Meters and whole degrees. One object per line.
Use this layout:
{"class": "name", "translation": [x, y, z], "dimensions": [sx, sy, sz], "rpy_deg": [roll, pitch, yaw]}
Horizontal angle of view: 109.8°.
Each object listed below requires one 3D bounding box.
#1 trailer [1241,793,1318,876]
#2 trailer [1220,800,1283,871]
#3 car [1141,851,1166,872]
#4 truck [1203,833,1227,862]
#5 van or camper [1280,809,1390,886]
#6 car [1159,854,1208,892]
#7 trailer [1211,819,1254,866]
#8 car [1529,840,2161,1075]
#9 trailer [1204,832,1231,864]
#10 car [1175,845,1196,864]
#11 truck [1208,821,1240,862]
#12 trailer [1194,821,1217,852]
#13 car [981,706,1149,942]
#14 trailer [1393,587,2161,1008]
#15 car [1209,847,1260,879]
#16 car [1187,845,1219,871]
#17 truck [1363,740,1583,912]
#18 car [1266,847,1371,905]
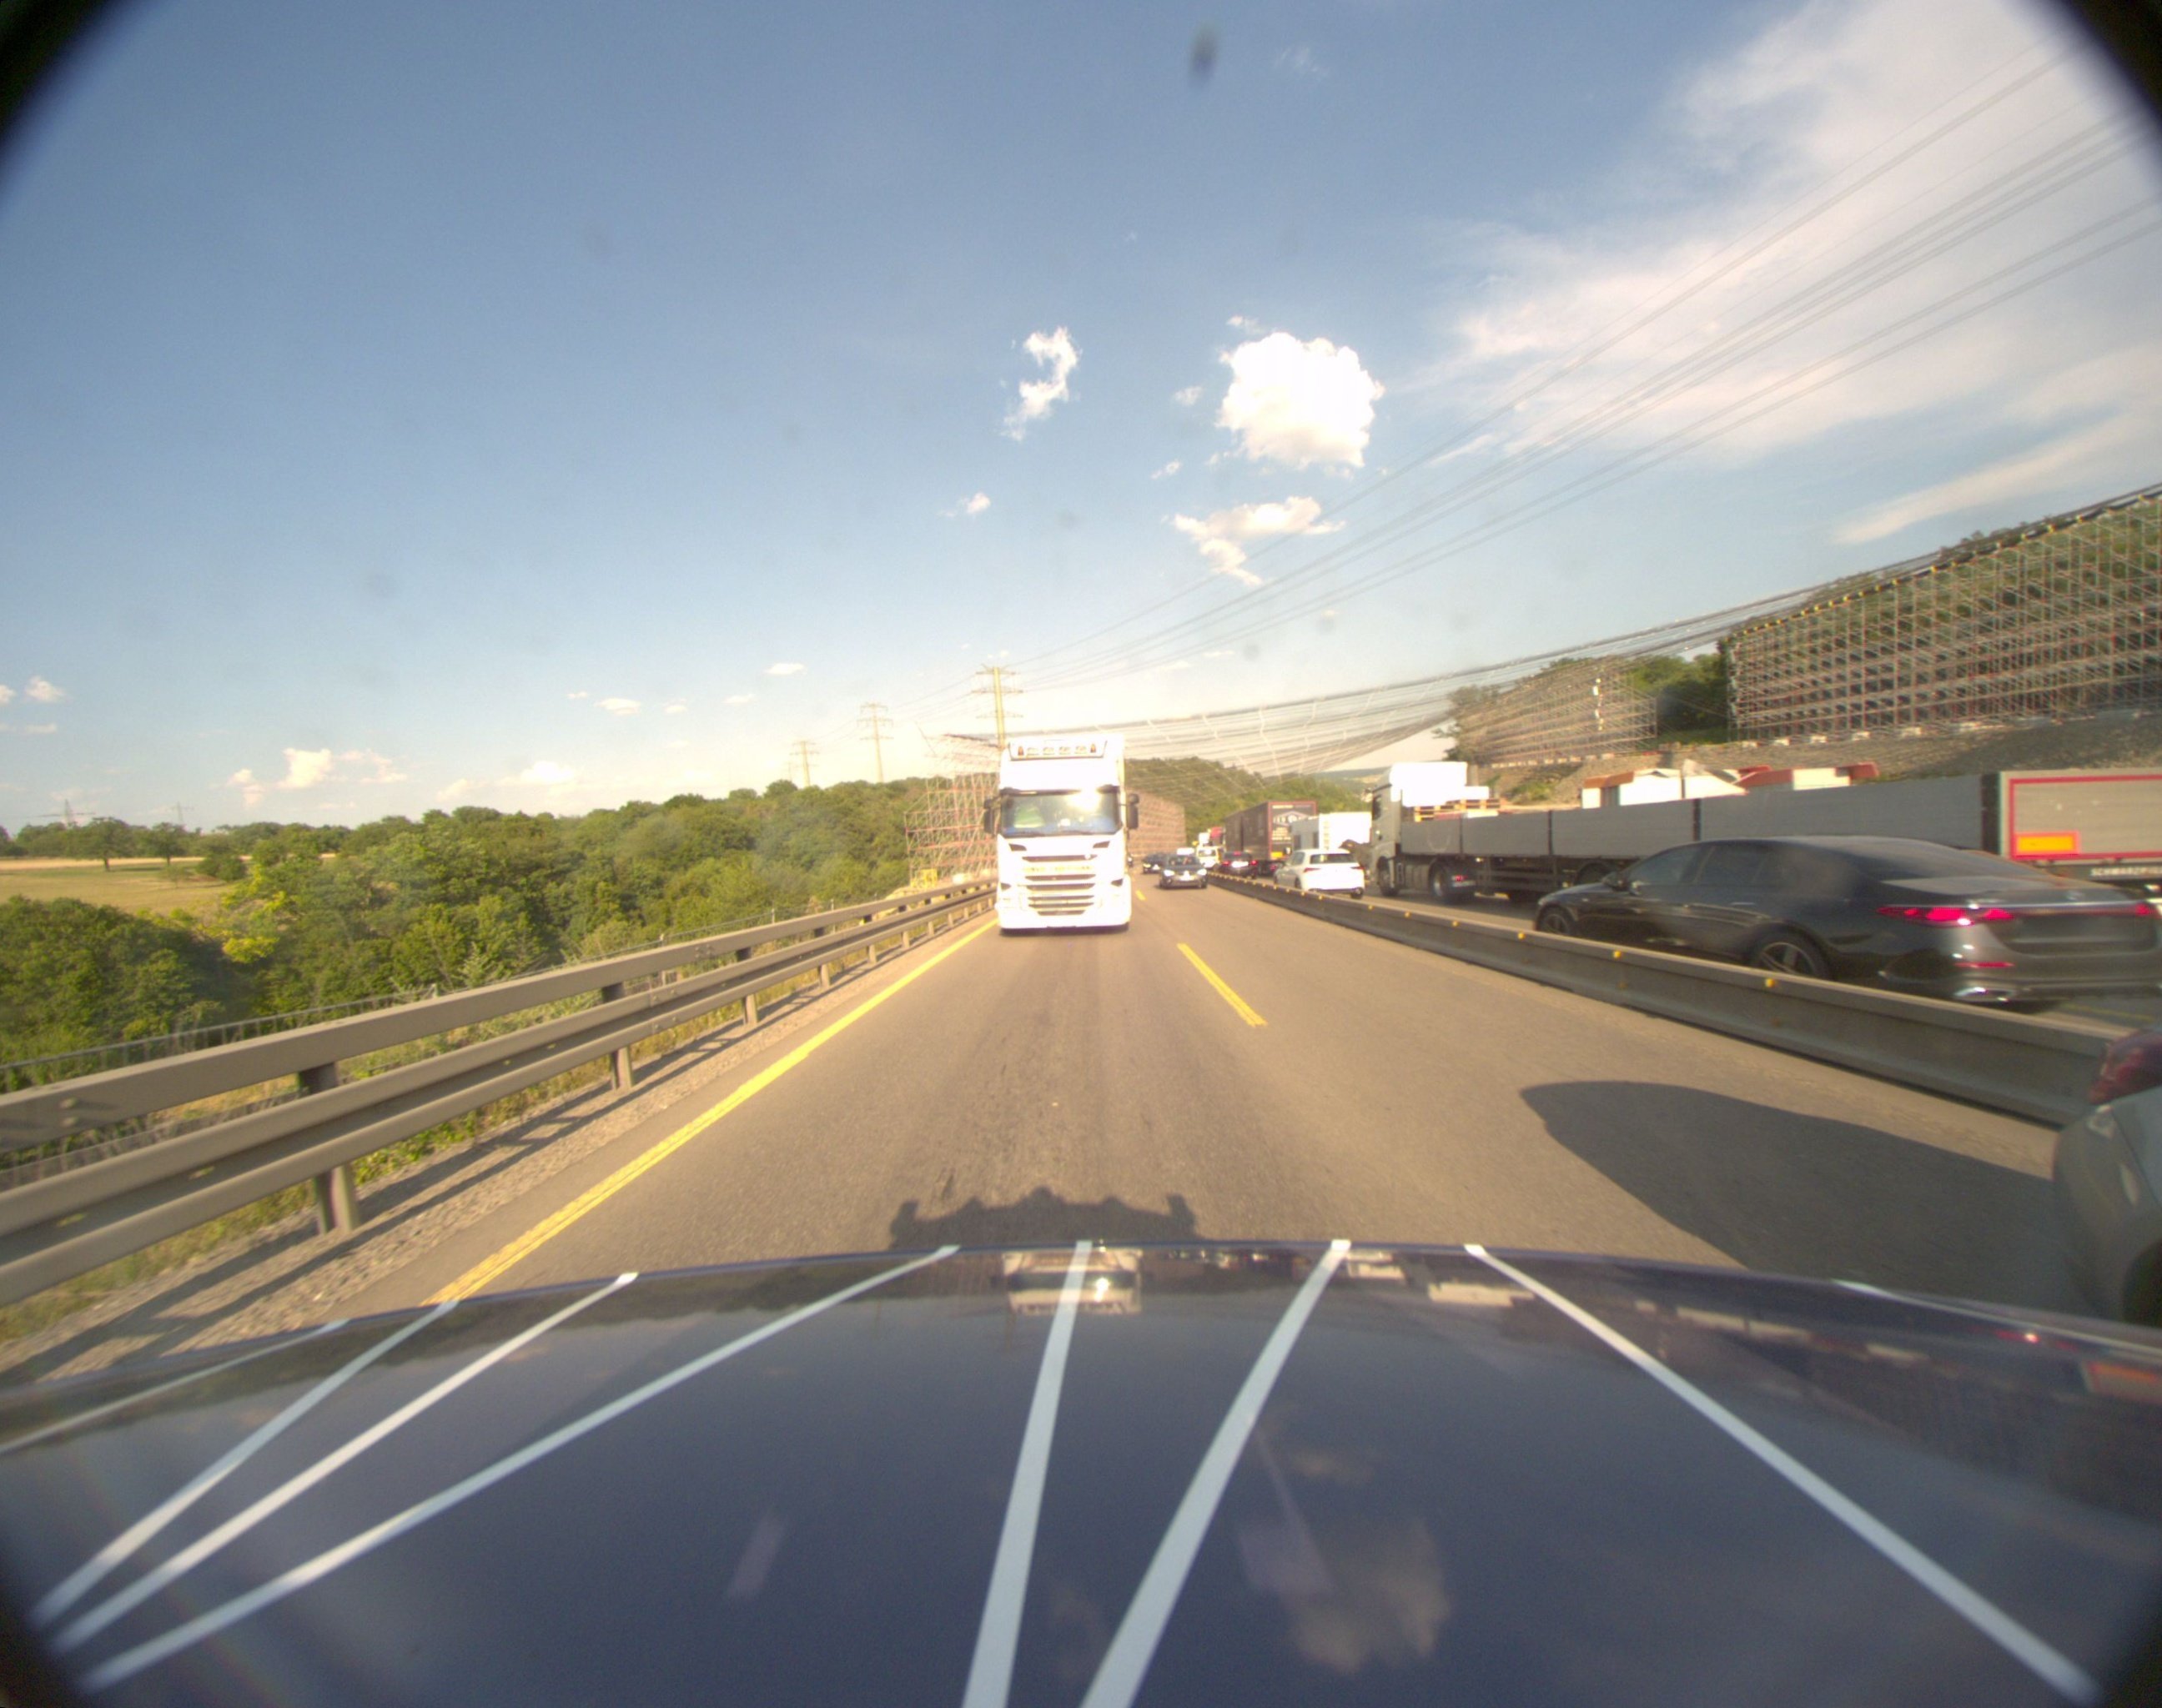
{"class": "trailer", "translation": [11.052, -1.028, 43.132], "dimensions": [2.448, 4.165, 8.544], "rpy_deg": [-2, 1, 3]}
{"class": "trailer", "translation": [11.591, -1.211, 52.631], "dimensions": [2.481, 4.303, 10.512], "rpy_deg": [-2, 1, 3]}
{"class": "car", "translation": [5.187, 0.531, 54.422], "dimensions": [1.675, 1.376, 3.823], "rpy_deg": [-2, 1, 5]}
{"class": "truck", "translation": [15.956, -0.798, 90.781], "dimensions": [2.418, 3.351, 5.620], "rpy_deg": [-1, 1, 7]}
{"class": "van or camper", "translation": [10.601, -0.289, 32.559], "dimensions": [2.414, 2.875, 7.618], "rpy_deg": [-2, 1, 2]}
{"class": "car", "translation": [4.136, 0.718, 31.061], "dimensions": [1.764, 1.376, 3.823], "rpy_deg": [-2, 1, 5]}
{"class": "trailer", "translation": [13.264, -0.994, 67.518], "dimensions": [2.312, 3.768, 12.055], "rpy_deg": [-1, 1, 5]}
{"class": "car", "translation": [6.345, 0.598, 6.934], "dimensions": [1.763, 1.370, 4.767], "rpy_deg": [-2, 1, 1]}
{"class": "trailer", "translation": [15.189, -0.707, 85.164], "dimensions": [2.311, 3.342, 12.057], "rpy_deg": [-1, 1, 7]}
{"class": "car", "translation": [10.903, 0.004, 79.350], "dimensions": [1.821, 1.914, 4.837], "rpy_deg": [-2, 1, 3]}
{"class": "truck", "translation": [13.751, -1.209, 73.300], "dimensions": [2.437, 3.763, 5.618], "rpy_deg": [-1, 1, 5]}
{"class": "trailer", "translation": [16.935, -2.354, 103.877], "dimensions": [2.432, 3.940, 14.104], "rpy_deg": [-1, 1, 7]}
{"class": "car", "translation": [-0.340, -0.565, 17.588], "dimensions": [2.859, 4.092, 8.279], "rpy_deg": [-2, 1, -1]}
{"class": "trailer", "translation": [9.691, -0.584, 13.731], "dimensions": [2.526, 3.703, 13.977], "rpy_deg": [-2, 1, 1]}
{"class": "car", "translation": [7.819, 0.430, 39.128], "dimensions": [1.798, 1.502, 4.586], "rpy_deg": [-2, 1, 2]}
{"class": "car", "translation": [8.687, 0.251, 54.209], "dimensions": [1.761, 1.685, 4.454], "rpy_deg": [-2, 1, 3]}
{"class": "truck", "translation": [9.887, -0.656, 20.089], "dimensions": [2.607, 3.732, 6.517], "rpy_deg": [-2, 1, 2]}
{"class": "car", "translation": [6.843, 0.570, 22.339], "dimensions": [1.763, 1.499, 4.254], "rpy_deg": [-2, 1, 0]}
